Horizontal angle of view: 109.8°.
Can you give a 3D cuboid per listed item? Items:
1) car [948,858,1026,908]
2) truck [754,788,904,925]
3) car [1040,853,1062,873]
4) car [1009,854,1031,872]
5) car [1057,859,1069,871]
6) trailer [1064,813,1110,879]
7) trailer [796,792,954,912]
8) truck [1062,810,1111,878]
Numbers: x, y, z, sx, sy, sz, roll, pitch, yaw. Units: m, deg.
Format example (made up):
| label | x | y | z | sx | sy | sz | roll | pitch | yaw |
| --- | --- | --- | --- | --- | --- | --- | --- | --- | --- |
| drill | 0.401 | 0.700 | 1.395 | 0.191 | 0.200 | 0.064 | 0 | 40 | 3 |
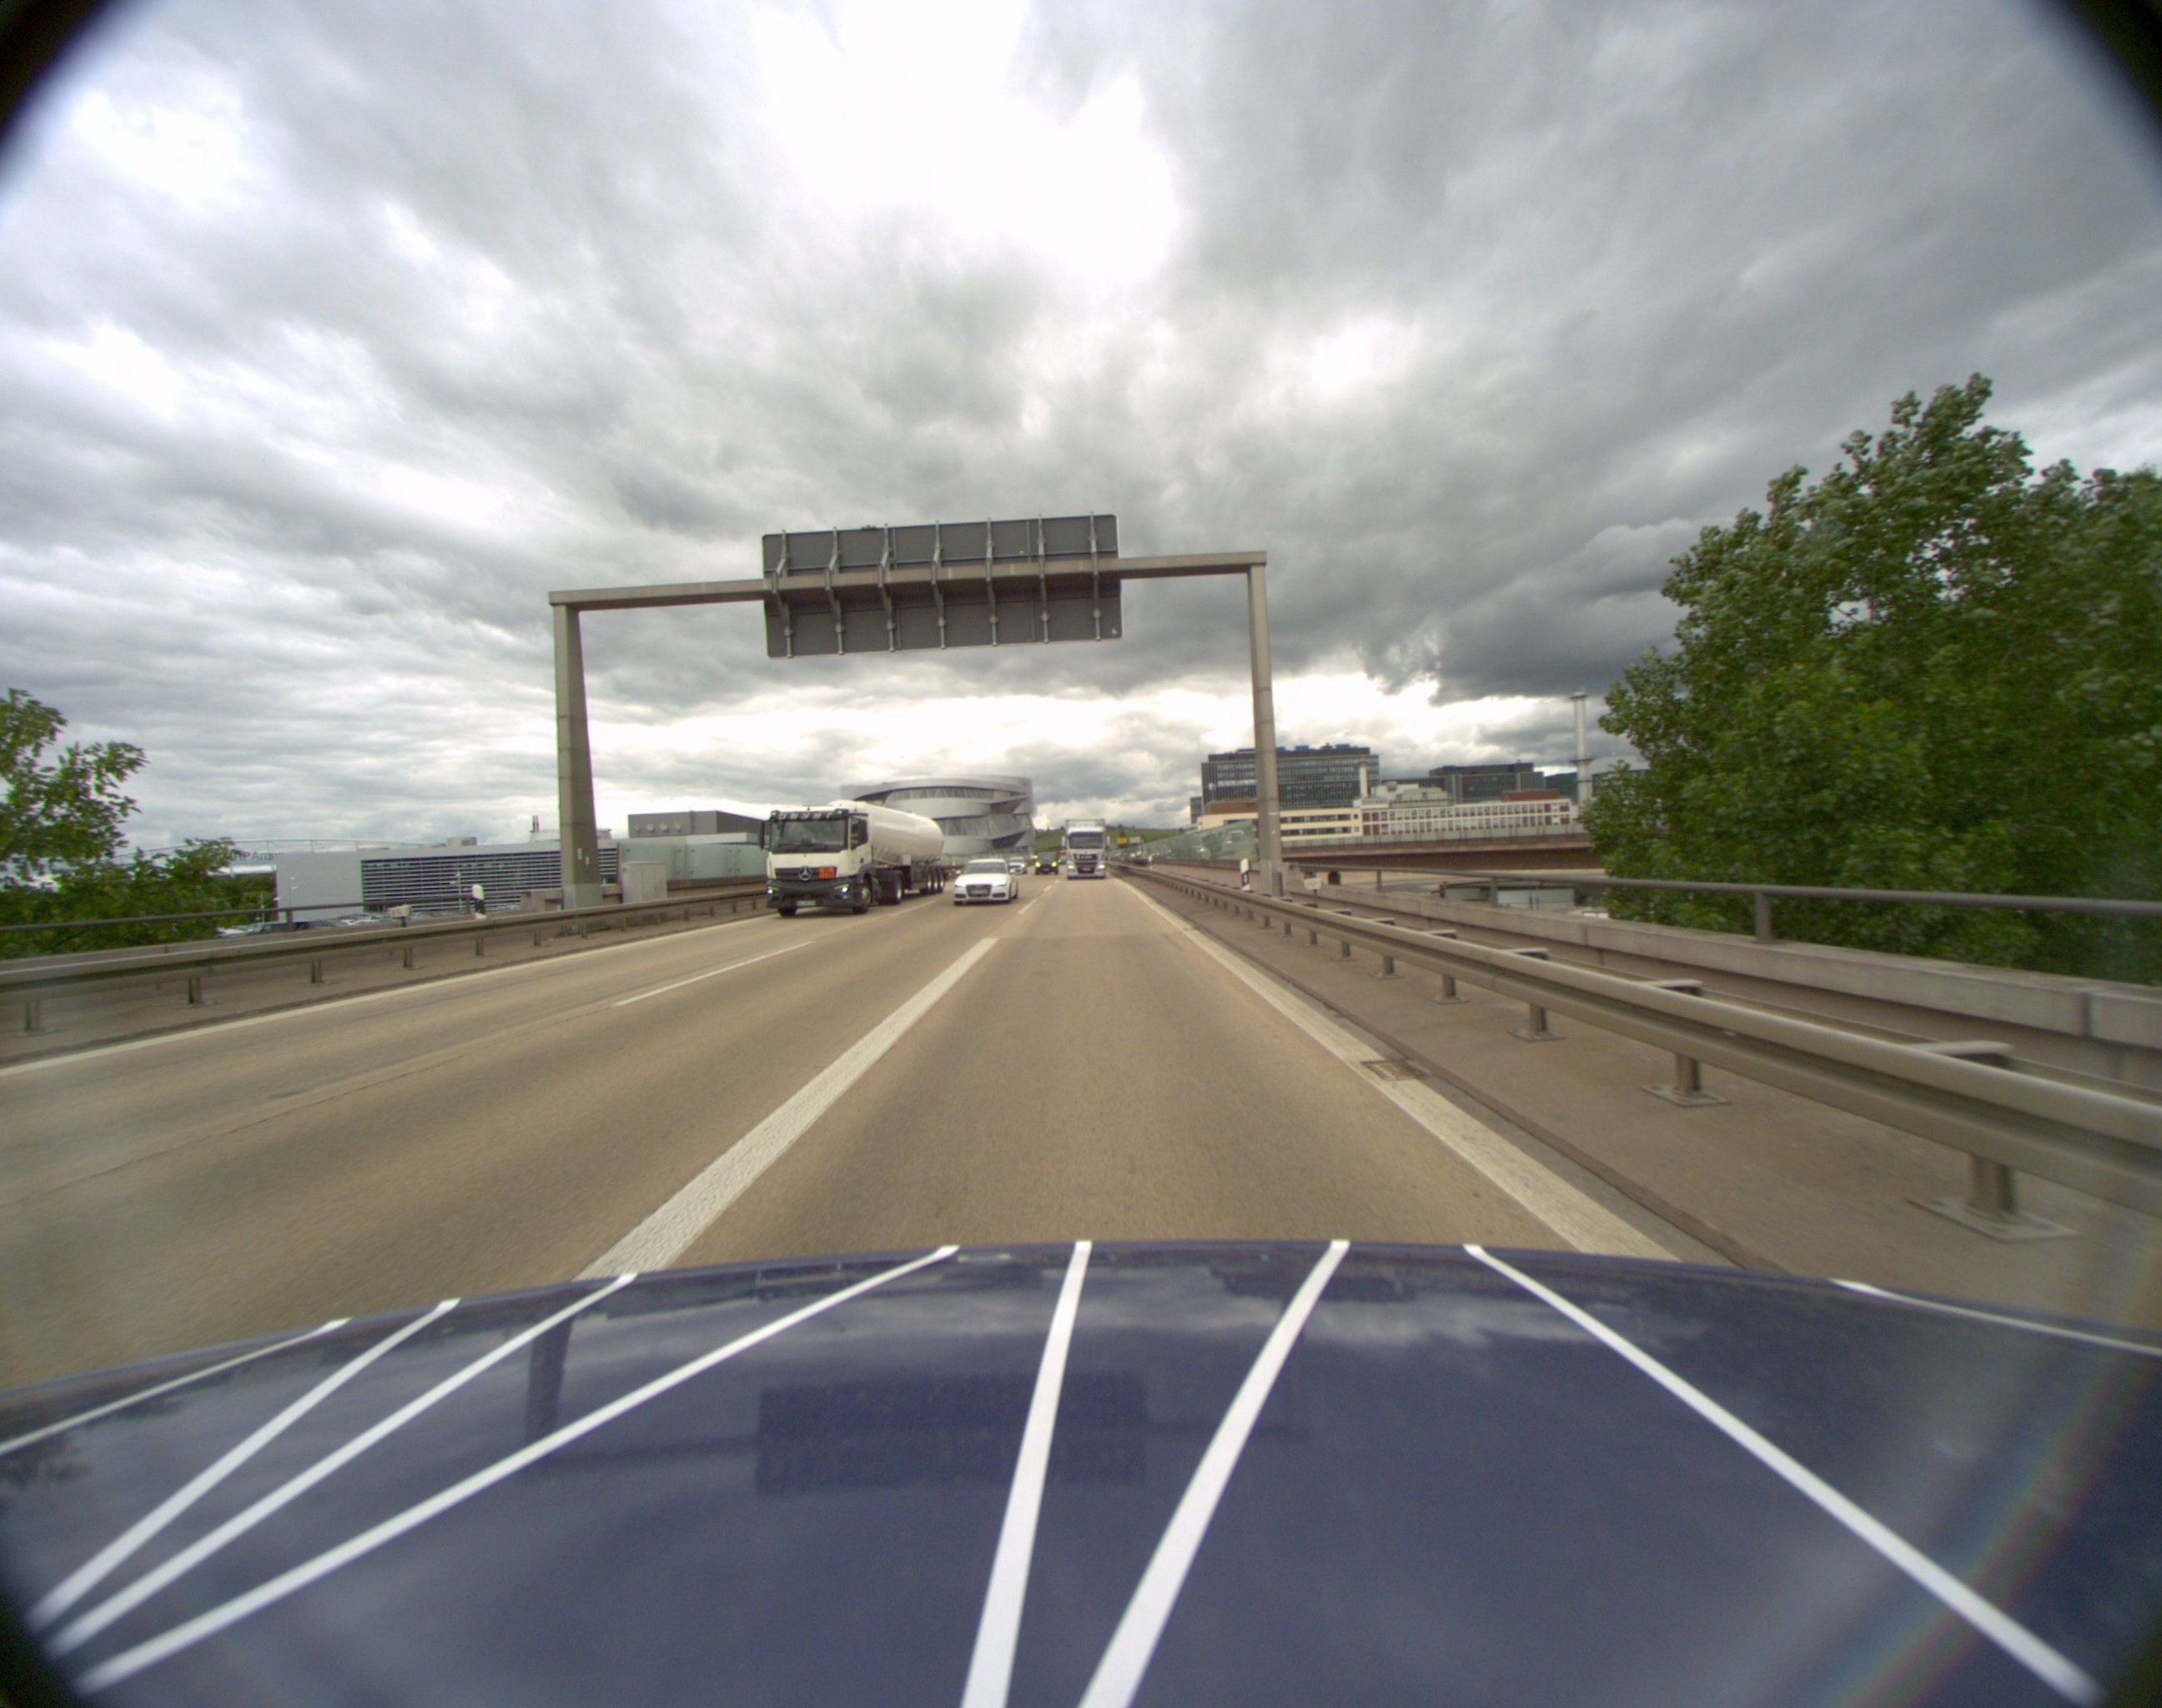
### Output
| label | x | y | z | sx | sy | sz | roll | pitch | yaw |
| --- | --- | --- | --- | --- | --- | --- | --- | --- | --- |
| car | -2.996 | 0.891 | 24.967 | 1.848 | 1.443 | 3.933 | -2 | 0 | 3 |
| truck | -7.171 | 0.116 | 22.322 | 2.637 | 3.493 | 4.905 | -2 | -1 | 0 |
| car | -2.647 | 0.793 | 68.378 | 1.765 | 1.624 | 3.627 | -1 | 1 | 1 |
| car | -5.968 | 0.849 | 75.112 | 1.785 | 1.624 | 3.627 | -1 | 1 | 1 |
| car | -3.193 | 1.913 | 137.697 | 1.998 | 2.002 | 4.000 | -1 | 1 | 0 |
| trailer | 0.462 | -0.537 | 54.230 | 2.880 | 4.104 | 11.219 | -1 | 0 | 1 |
| trailer | -7.113 | -0.094 | 28.408 | 2.657 | 3.523 | 11.219 | -1 | 0 | 0 |
| truck | 0.387 | -0.618 | 50.064 | 2.946 | 4.136 | 6.291 | -1 | 0 | 1 |
